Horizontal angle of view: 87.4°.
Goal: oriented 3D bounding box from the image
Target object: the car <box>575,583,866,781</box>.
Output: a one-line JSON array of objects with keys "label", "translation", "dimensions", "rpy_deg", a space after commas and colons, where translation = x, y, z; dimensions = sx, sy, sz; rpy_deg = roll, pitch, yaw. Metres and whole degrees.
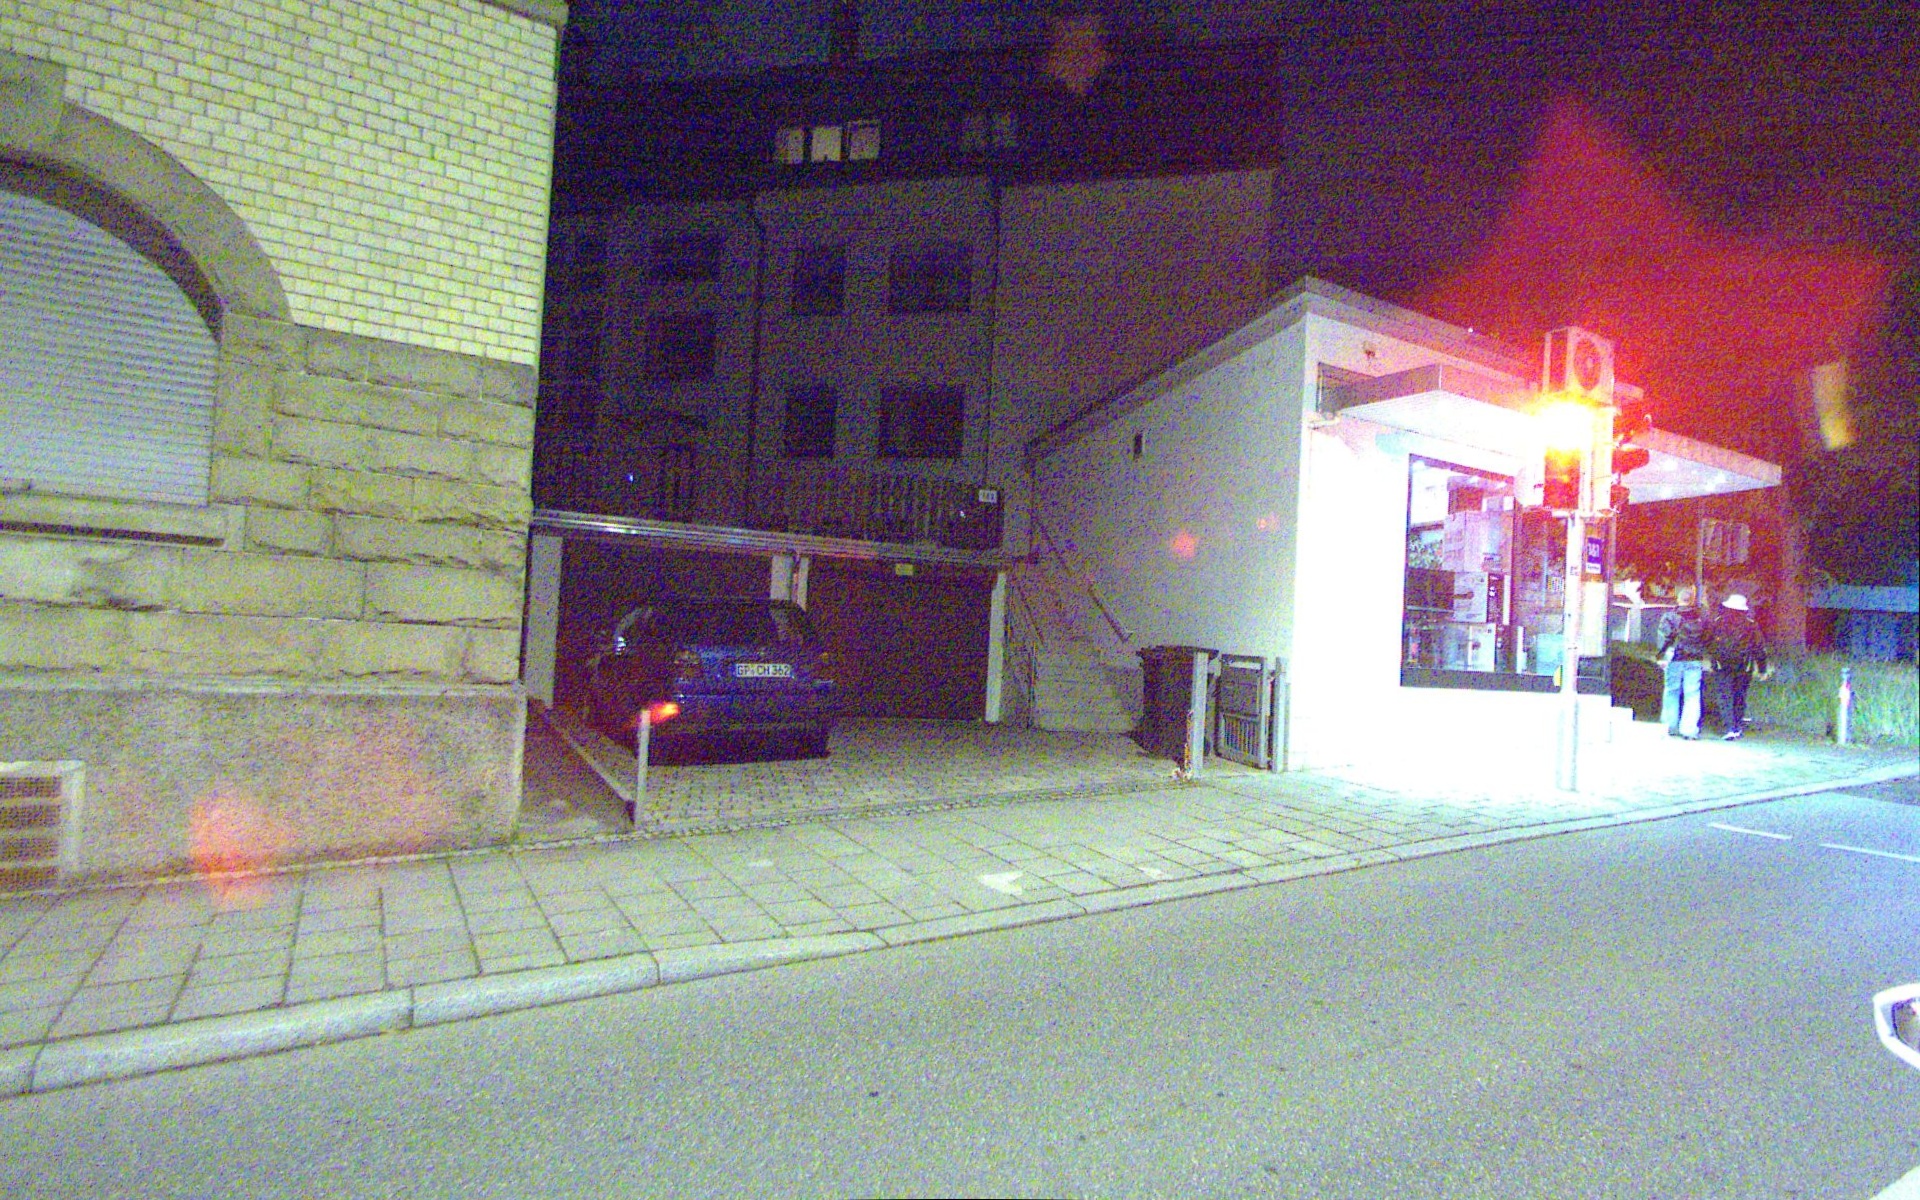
[{"label": "car", "translation": [-2.450, 0.616, 9.571], "dimensions": [1.700, 1.460, 3.631], "rpy_deg": [2, 0, -30]}]

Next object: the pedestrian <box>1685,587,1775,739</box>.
[{"label": "pedestrian", "translation": [9.484, 0.758, 12.376], "dimensions": [0.729, 1.801, 0.567], "rpy_deg": [2, 2, -30]}]

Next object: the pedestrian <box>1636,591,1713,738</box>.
[{"label": "pedestrian", "translation": [8.799, 0.771, 12.373], "dimensions": [0.537, 1.754, 0.567], "rpy_deg": [2, 0, -30]}]
